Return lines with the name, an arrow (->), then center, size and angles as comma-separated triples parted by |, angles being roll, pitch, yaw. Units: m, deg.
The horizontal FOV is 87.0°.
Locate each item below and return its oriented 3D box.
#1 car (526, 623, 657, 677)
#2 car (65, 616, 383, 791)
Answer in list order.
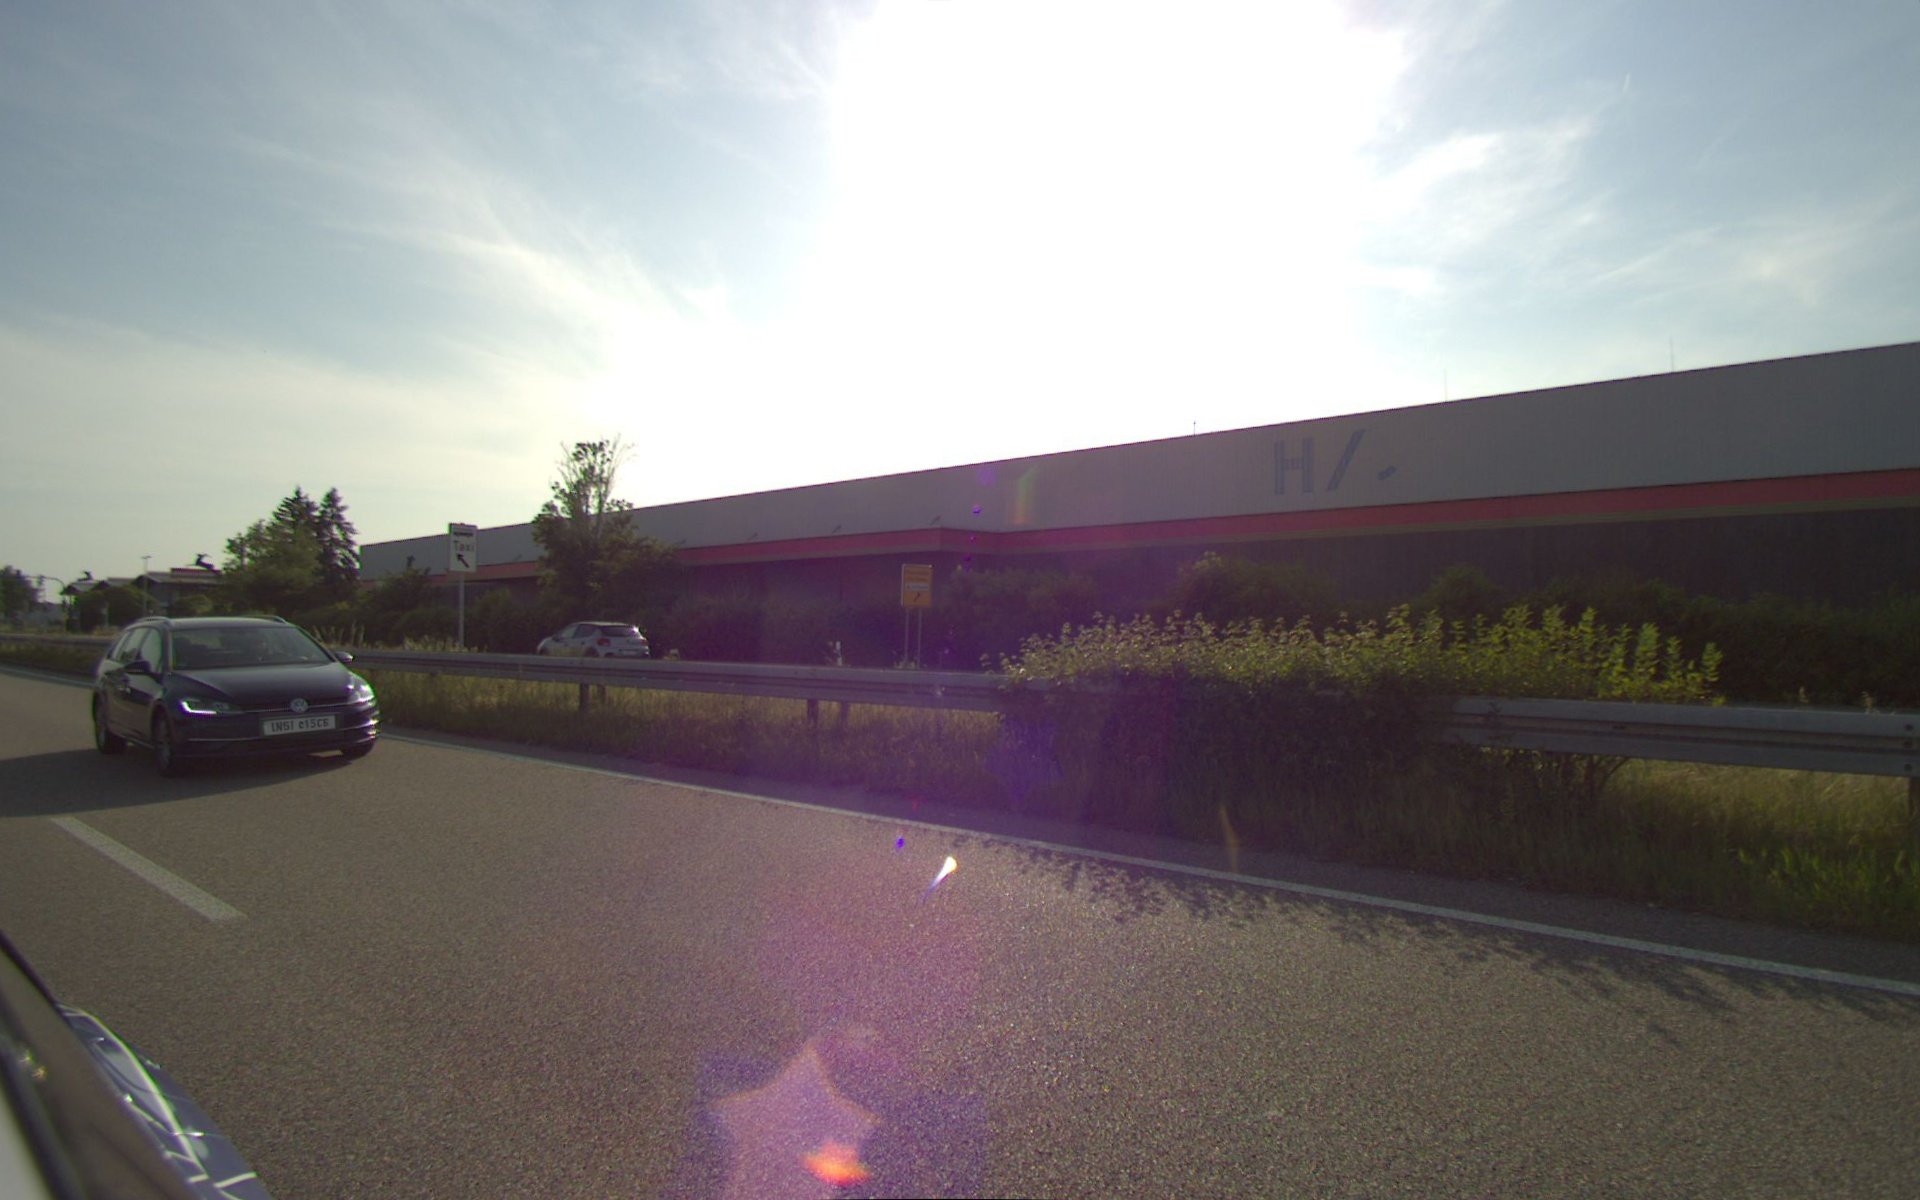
car -> -10.571, 1.385, 28.916 | 3.997, 1.435, 1.761 | -1, -2, 40
car -> -7.983, 0.929, 10.784 | 4.772, 1.482, 1.629 | -1, -2, 40
